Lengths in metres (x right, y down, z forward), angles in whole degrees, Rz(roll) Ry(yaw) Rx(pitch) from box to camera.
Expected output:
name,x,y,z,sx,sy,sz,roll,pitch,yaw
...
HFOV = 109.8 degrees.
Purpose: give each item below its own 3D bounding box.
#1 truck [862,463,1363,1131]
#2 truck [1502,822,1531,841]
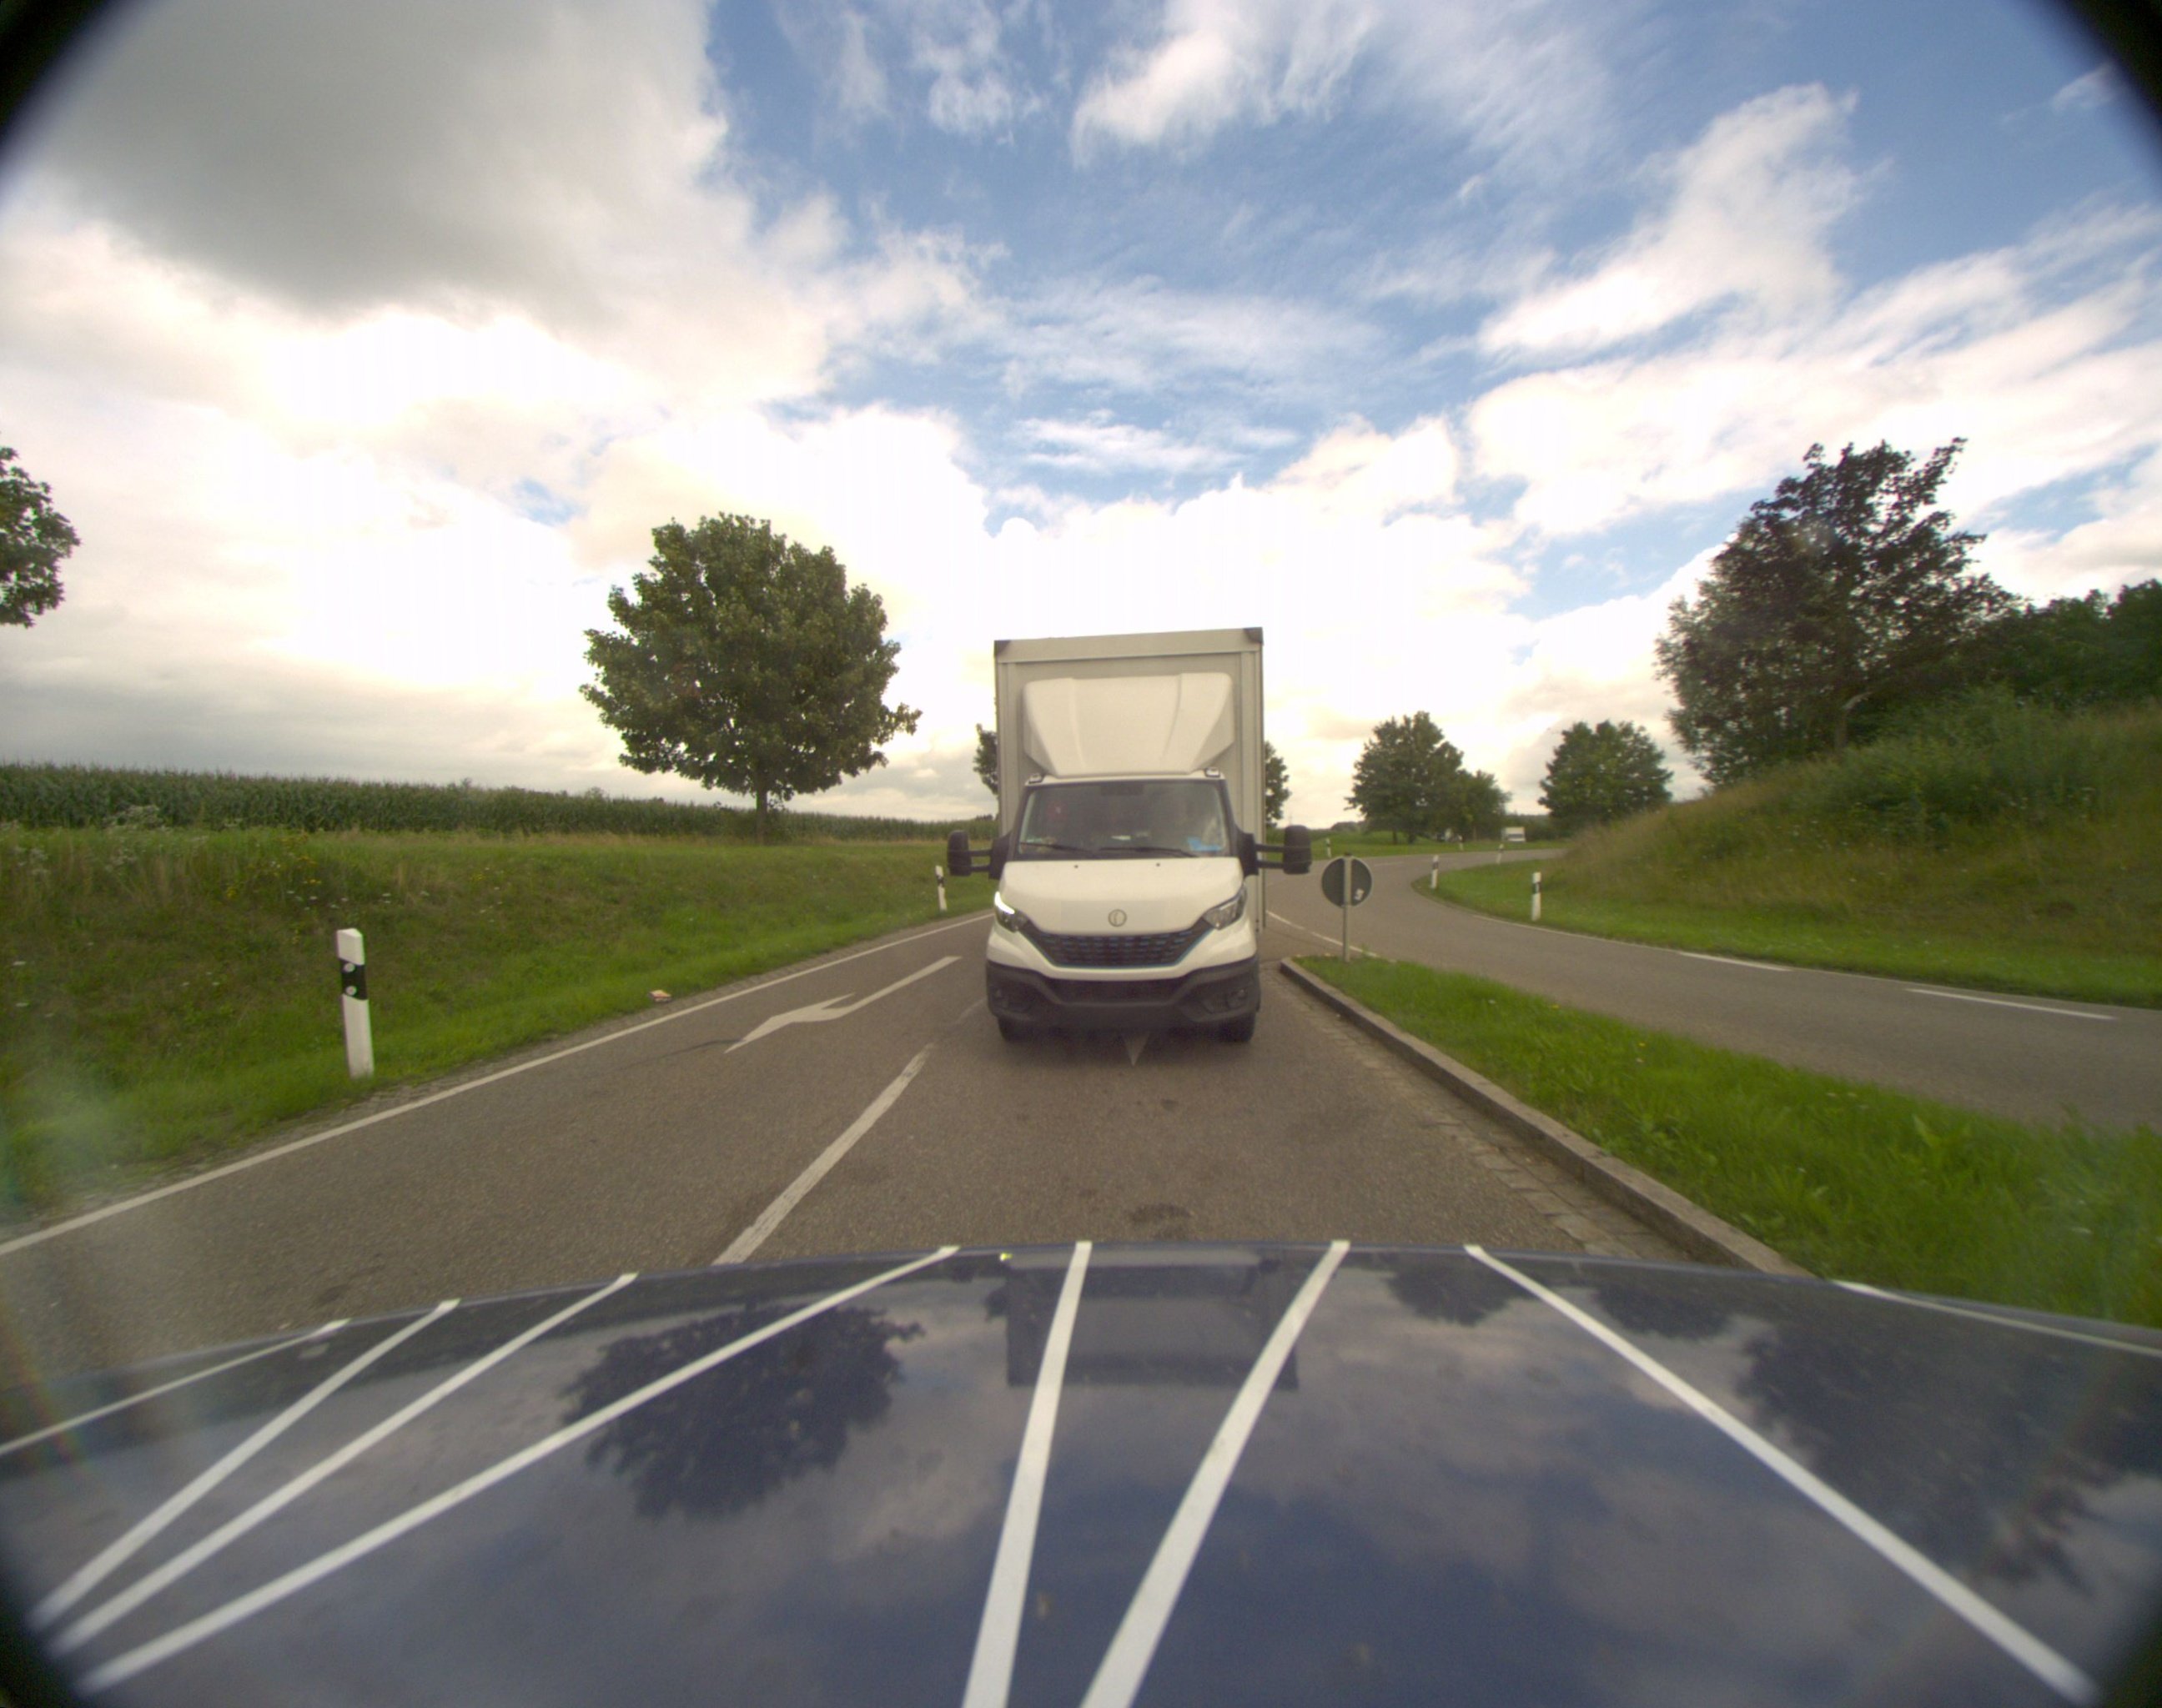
name,x,y,z,sx,sy,sz,roll,pitch,yaw
truck,0.481,-0.367,8.747,2.836,3.742,8.801,0,1,4
truck,58.804,-3.030,102.693,2.287,2.407,6.390,-1,1,20
